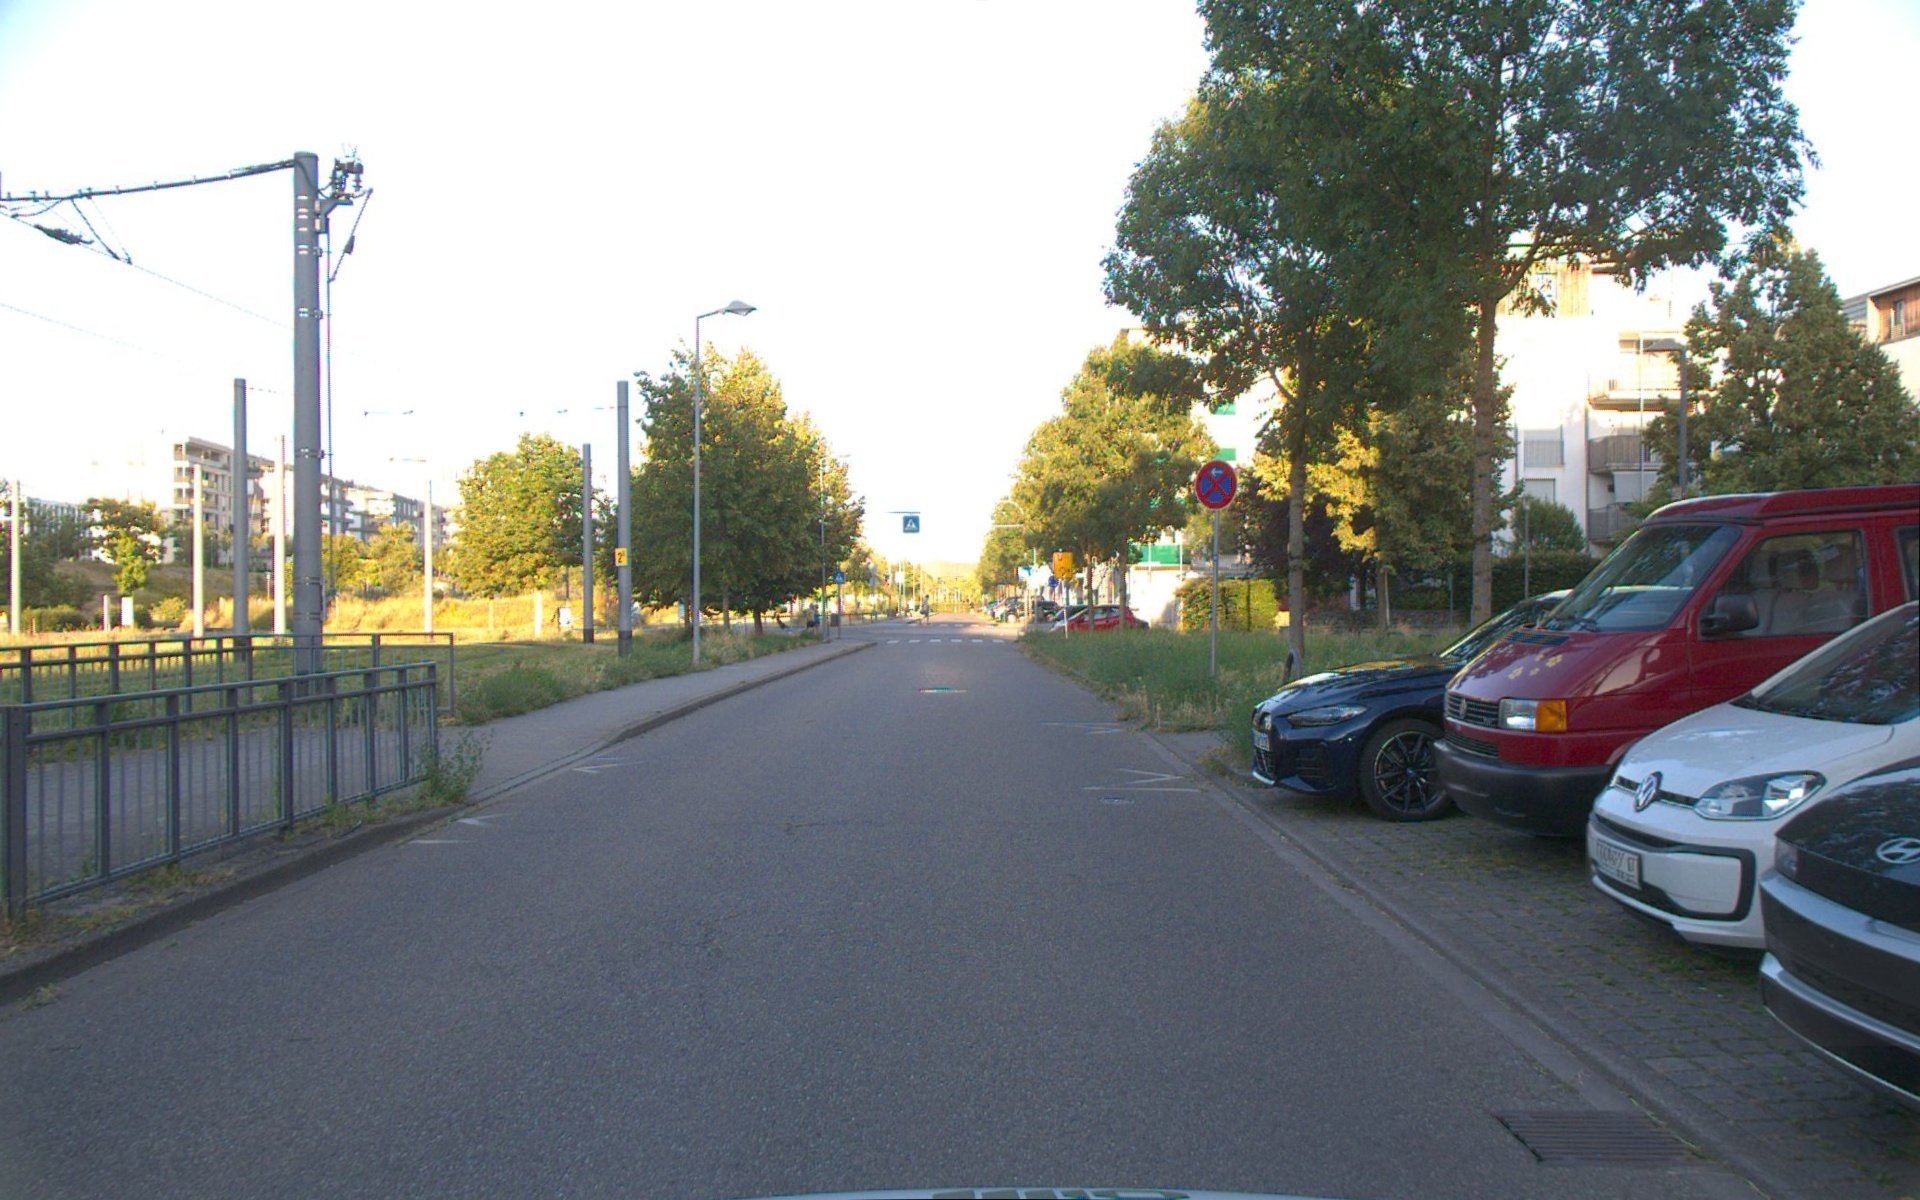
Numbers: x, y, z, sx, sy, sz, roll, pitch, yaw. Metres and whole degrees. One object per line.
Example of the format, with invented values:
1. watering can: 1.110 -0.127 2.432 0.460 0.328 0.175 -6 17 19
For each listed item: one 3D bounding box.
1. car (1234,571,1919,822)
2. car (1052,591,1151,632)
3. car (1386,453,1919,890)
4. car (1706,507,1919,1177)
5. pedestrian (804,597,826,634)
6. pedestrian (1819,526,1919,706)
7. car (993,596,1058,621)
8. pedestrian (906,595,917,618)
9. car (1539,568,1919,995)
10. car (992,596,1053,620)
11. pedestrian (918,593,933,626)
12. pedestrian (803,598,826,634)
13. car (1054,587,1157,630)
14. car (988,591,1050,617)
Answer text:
1. car: 4.364 0.621 11.632 4.573 1.584 1.811 -1 0 0
2. car: 5.574 0.442 65.546 3.726 1.535 1.678 -1 0 -2
3. car: 5.047 0.343 9.234 4.818 2.154 2.017 -1 0 1
4. car: 4.322 0.490 4.062 4.129 1.596 1.792 -2 0 0
5. pedestrian: -7.015 0.747 79.951 0.965 1.723 0.698 -1 0 -11
6. pedestrian: 9.190 0.153 16.696 0.655 1.773 0.699 -1 0 0
7. car: 4.484 0.554 113.127 4.392 1.624 2.000 -1 0 1
8. pedestrian: -4.363 0.621 149.779 0.851 2.049 0.787 -1 0 -11
9. car: 4.401 0.598 6.763 3.453 1.490 1.615 -2 0 0
10. car: 4.464 0.556 118.367 4.265 1.624 2.000 -1 0 1
11. pedestrian: -2.194 0.580 104.822 0.828 2.049 0.944 -1 0 5
12. pedestrian: -6.974 0.756 79.200 1.000 1.723 0.757 -1 0 -12
13. car: 5.496 0.321 62.747 3.726 1.535 1.678 -1 0 -2
14. car: 4.856 0.337 136.387 4.905 2.081 2.248 -1 0 -5
